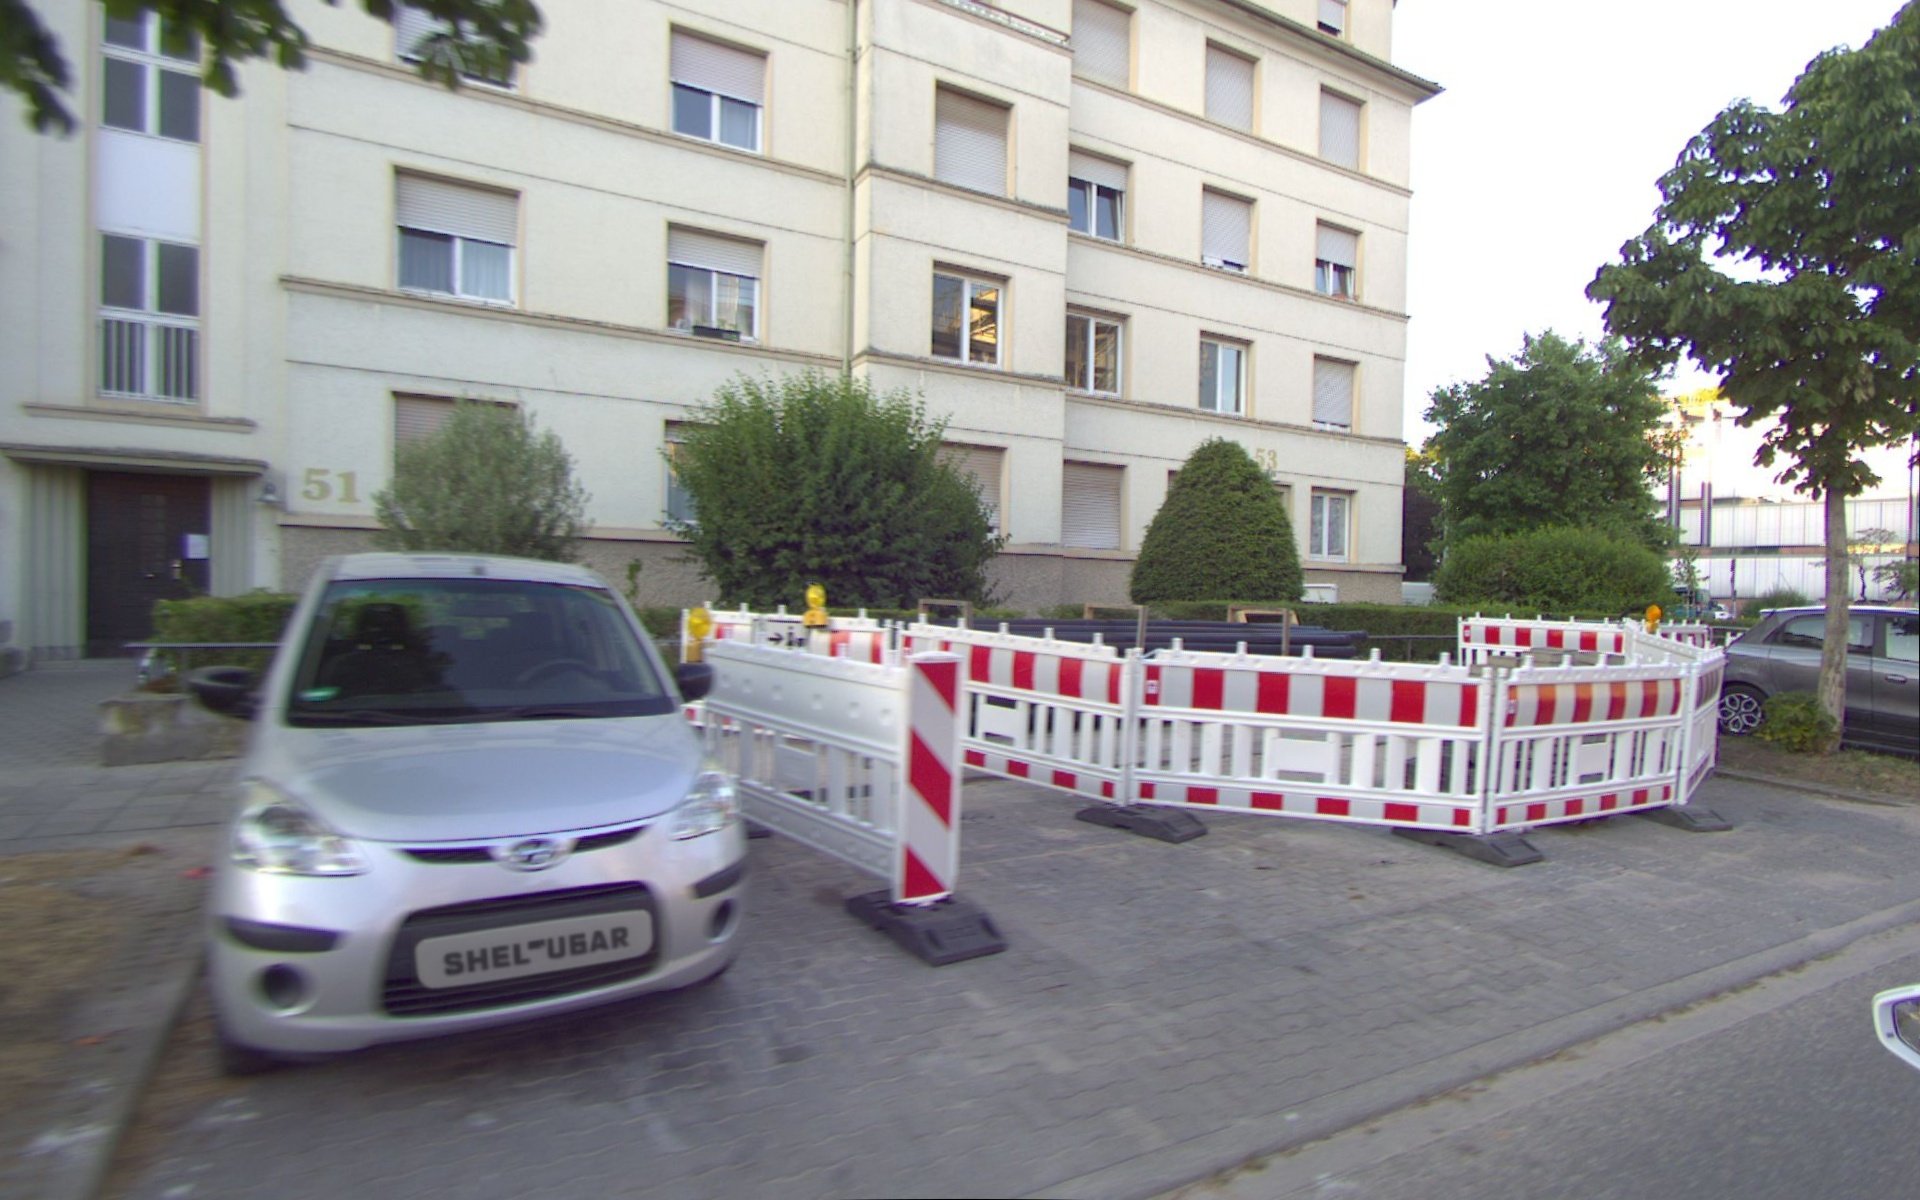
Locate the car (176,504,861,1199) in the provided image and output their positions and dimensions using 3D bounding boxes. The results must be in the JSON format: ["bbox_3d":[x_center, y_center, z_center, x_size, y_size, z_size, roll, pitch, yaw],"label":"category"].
[{"bbox_3d":[-2.009,0.548,4.203,1.710,1.587,3.452,2,1,-34],"label":"car"}]

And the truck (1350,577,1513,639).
[{"bbox_3d":[19.979,0.269,42.744,5.952,2.455,2.099,1,1,38],"label":"truck"}]

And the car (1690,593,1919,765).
[{"bbox_3d":[10.057,0.831,10.405,1.673,1.578,3.606,1,3,-29],"label":"car"}]

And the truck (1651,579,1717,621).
[{"bbox_3d":[38.342,0.005,53.126,4.482,2.118,2.085,1,0,-44],"label":"truck"}]

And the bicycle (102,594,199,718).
[{"bbox_3d":[-7.347,0.459,9.175,0.359,1.021,1.923,1,0,-29],"label":"bicycle"}]

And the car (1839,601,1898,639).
[{"bbox_3d":[44.352,0.945,49.119,1.970,1.715,3.980,1,0,40],"label":"car"}]

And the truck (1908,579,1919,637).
[{"bbox_3d":[46.353,0.375,47.401,2.309,2.652,4.944,1,0,43],"label":"truck"}]
